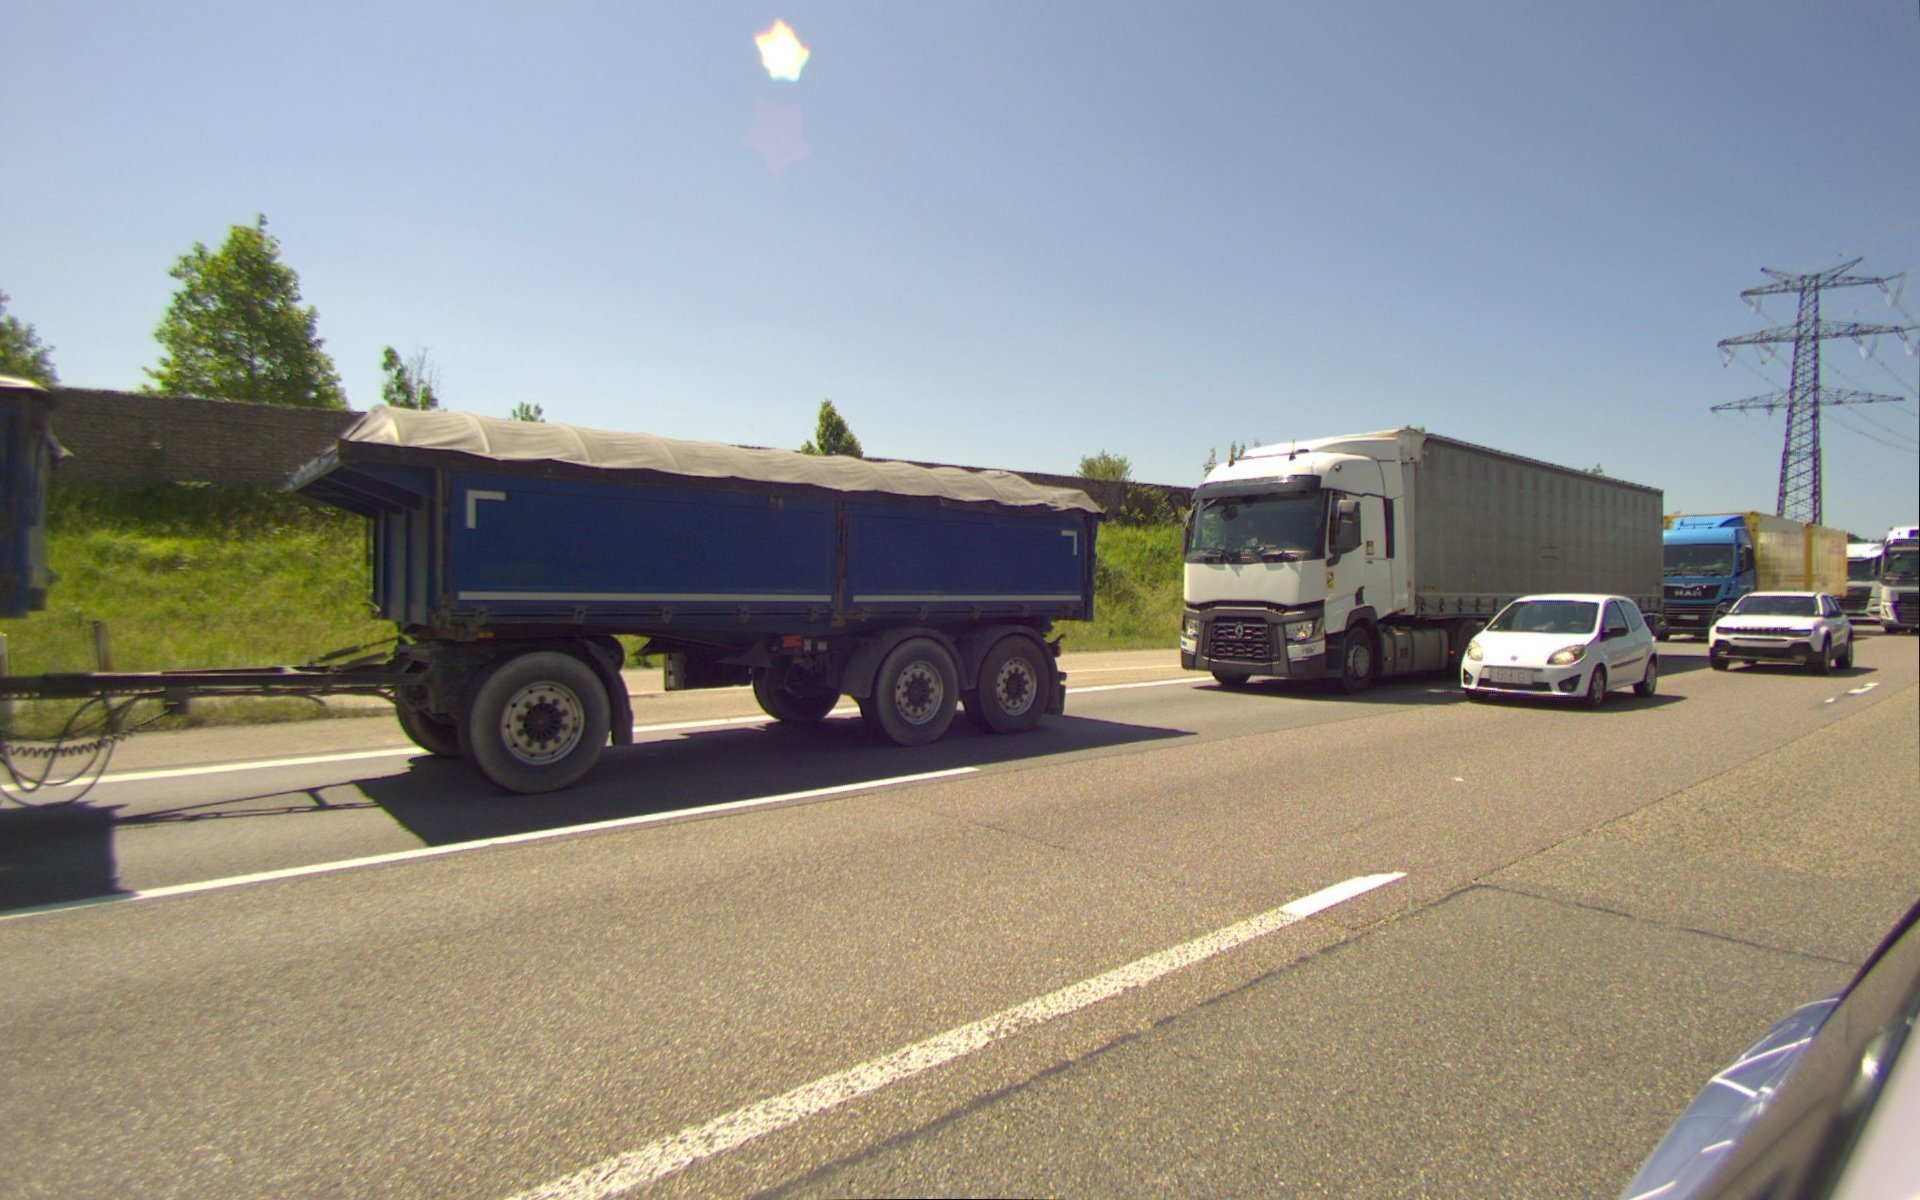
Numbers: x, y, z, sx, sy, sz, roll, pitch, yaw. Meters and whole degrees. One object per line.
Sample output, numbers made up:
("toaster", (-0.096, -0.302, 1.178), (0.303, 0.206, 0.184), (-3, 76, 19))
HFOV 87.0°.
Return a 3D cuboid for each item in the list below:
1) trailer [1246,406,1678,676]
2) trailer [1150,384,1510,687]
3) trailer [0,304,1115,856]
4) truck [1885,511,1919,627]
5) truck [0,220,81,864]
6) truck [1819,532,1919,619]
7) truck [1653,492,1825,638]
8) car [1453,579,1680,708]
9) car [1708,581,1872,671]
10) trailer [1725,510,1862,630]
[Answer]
("trailer", (11.066, -0.949, 20.897), (13.510, 4.100, 2.968), (-1, 0, -41))
("trailer", (6.322, -0.902, 16.823), (6.298, 4.095, 2.930), (0, 0, -41))
("trailer", (-2.584, -0.114, 9.152), (8.955, 2.872, 2.749), (0, 0, -41))
("truck", (39.392, -1.167, 39.645), (14.001, 4.089, 2.717), (-1, 0, -40))
("truck", (-8.347, -0.316, 4.204), (7.006, 3.354, 2.749), (0, 0, -41))
("truck", (46.034, -1.211, 50.784), (11.098, 3.980, 2.694), (-1, 1, -40))
("truck", (25.720, -1.021, 33.154), (9.781, 4.161, 2.769), (0, 0, -42))
("car", (8.598, 0.501, 14.232), (3.759, 1.529, 1.658), (-2, 1, -41))
("car", (16.263, 0.431, 19.786), (3.783, 1.549, 1.775), (-2, 1, -39))
("trailer", (32.514, -1.058, 39.308), (9.216, 4.169, 2.769), (0, 0, -42))
